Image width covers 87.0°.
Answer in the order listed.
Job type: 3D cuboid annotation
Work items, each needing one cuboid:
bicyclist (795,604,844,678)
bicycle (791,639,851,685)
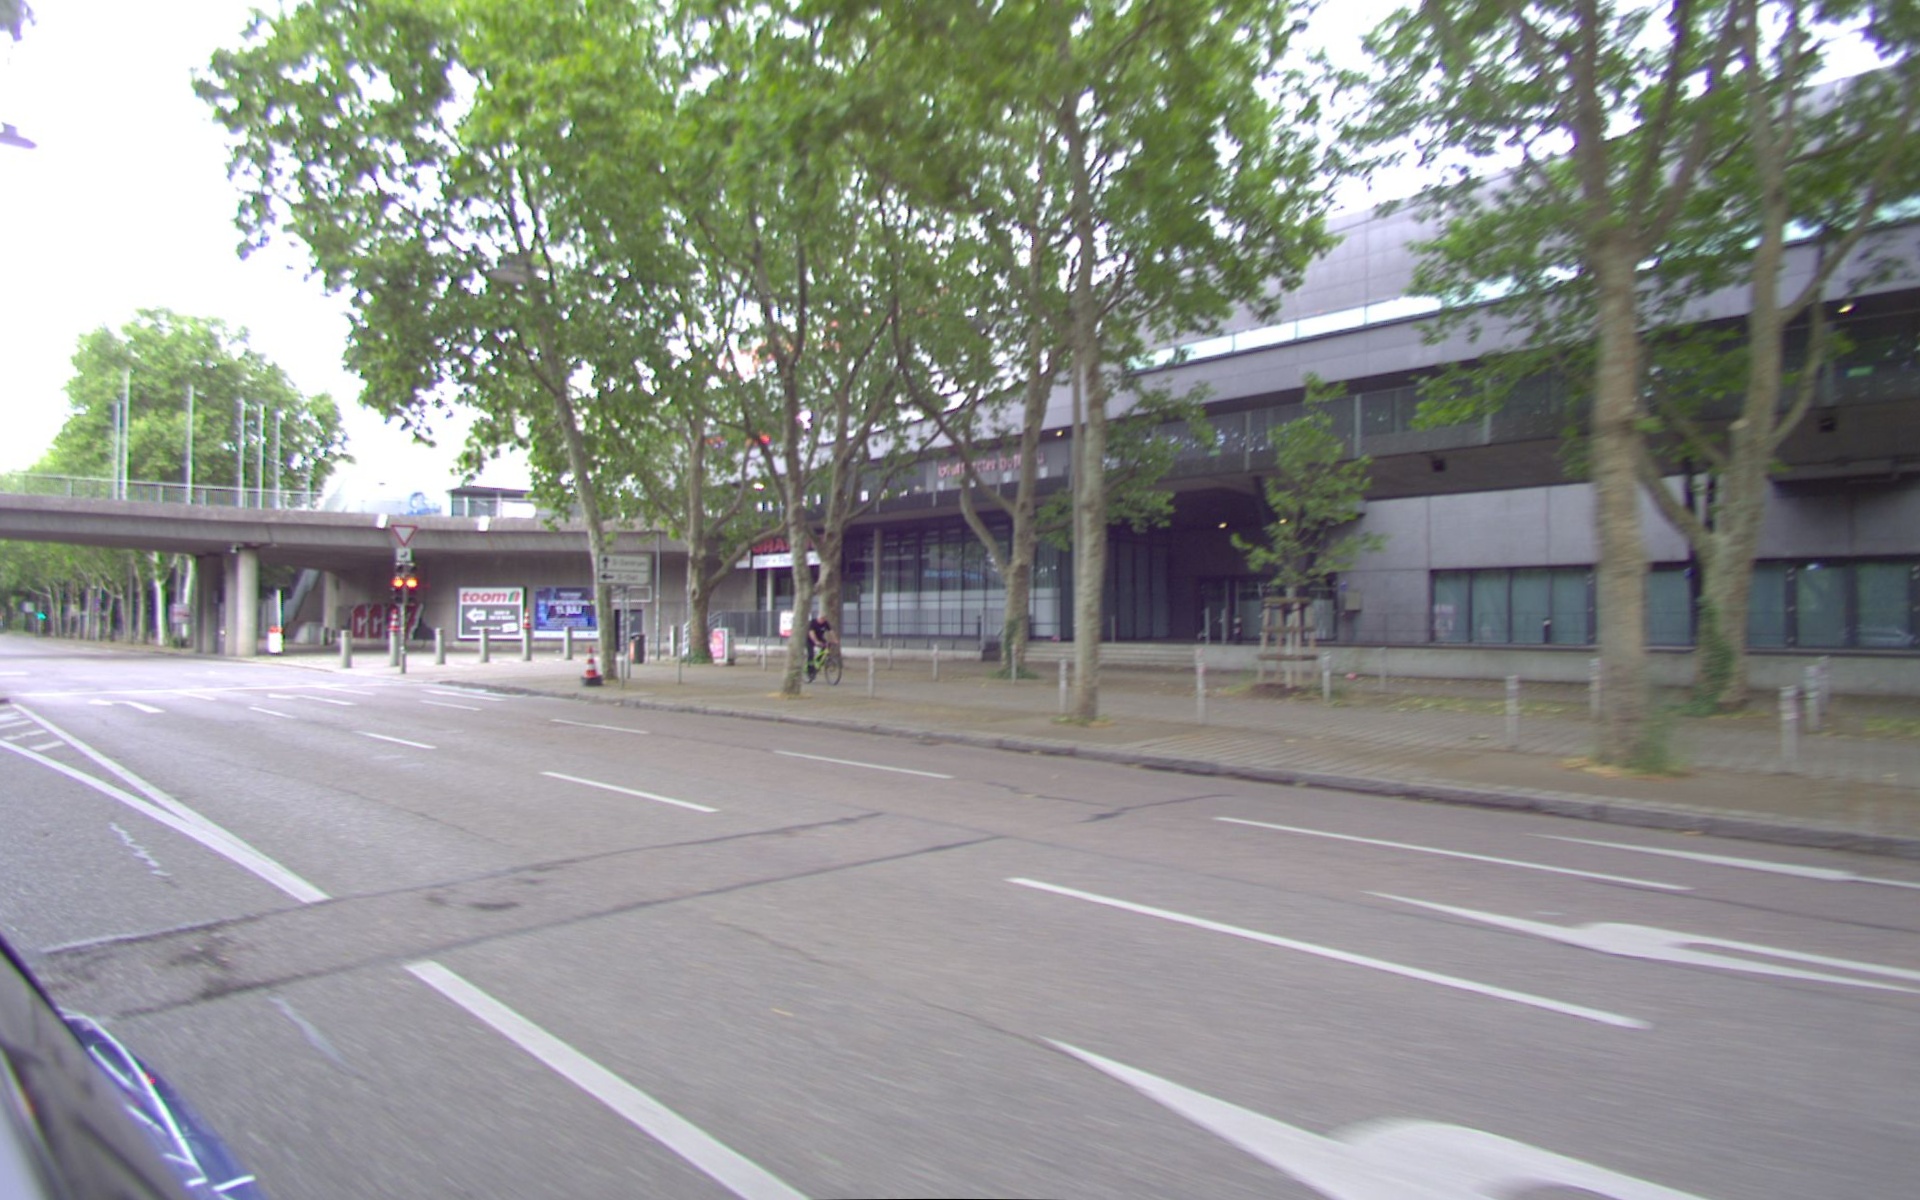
[{"bbox_3d":[-3.380,0.980,24.333,0.854,1.710,0.756,1,-2,41],"label":"bicyclist"},{"bbox_3d":[-3.345,1.472,24.270,1.537,1.020,0.510,1,-2,41],"label":"bicycle"}]
